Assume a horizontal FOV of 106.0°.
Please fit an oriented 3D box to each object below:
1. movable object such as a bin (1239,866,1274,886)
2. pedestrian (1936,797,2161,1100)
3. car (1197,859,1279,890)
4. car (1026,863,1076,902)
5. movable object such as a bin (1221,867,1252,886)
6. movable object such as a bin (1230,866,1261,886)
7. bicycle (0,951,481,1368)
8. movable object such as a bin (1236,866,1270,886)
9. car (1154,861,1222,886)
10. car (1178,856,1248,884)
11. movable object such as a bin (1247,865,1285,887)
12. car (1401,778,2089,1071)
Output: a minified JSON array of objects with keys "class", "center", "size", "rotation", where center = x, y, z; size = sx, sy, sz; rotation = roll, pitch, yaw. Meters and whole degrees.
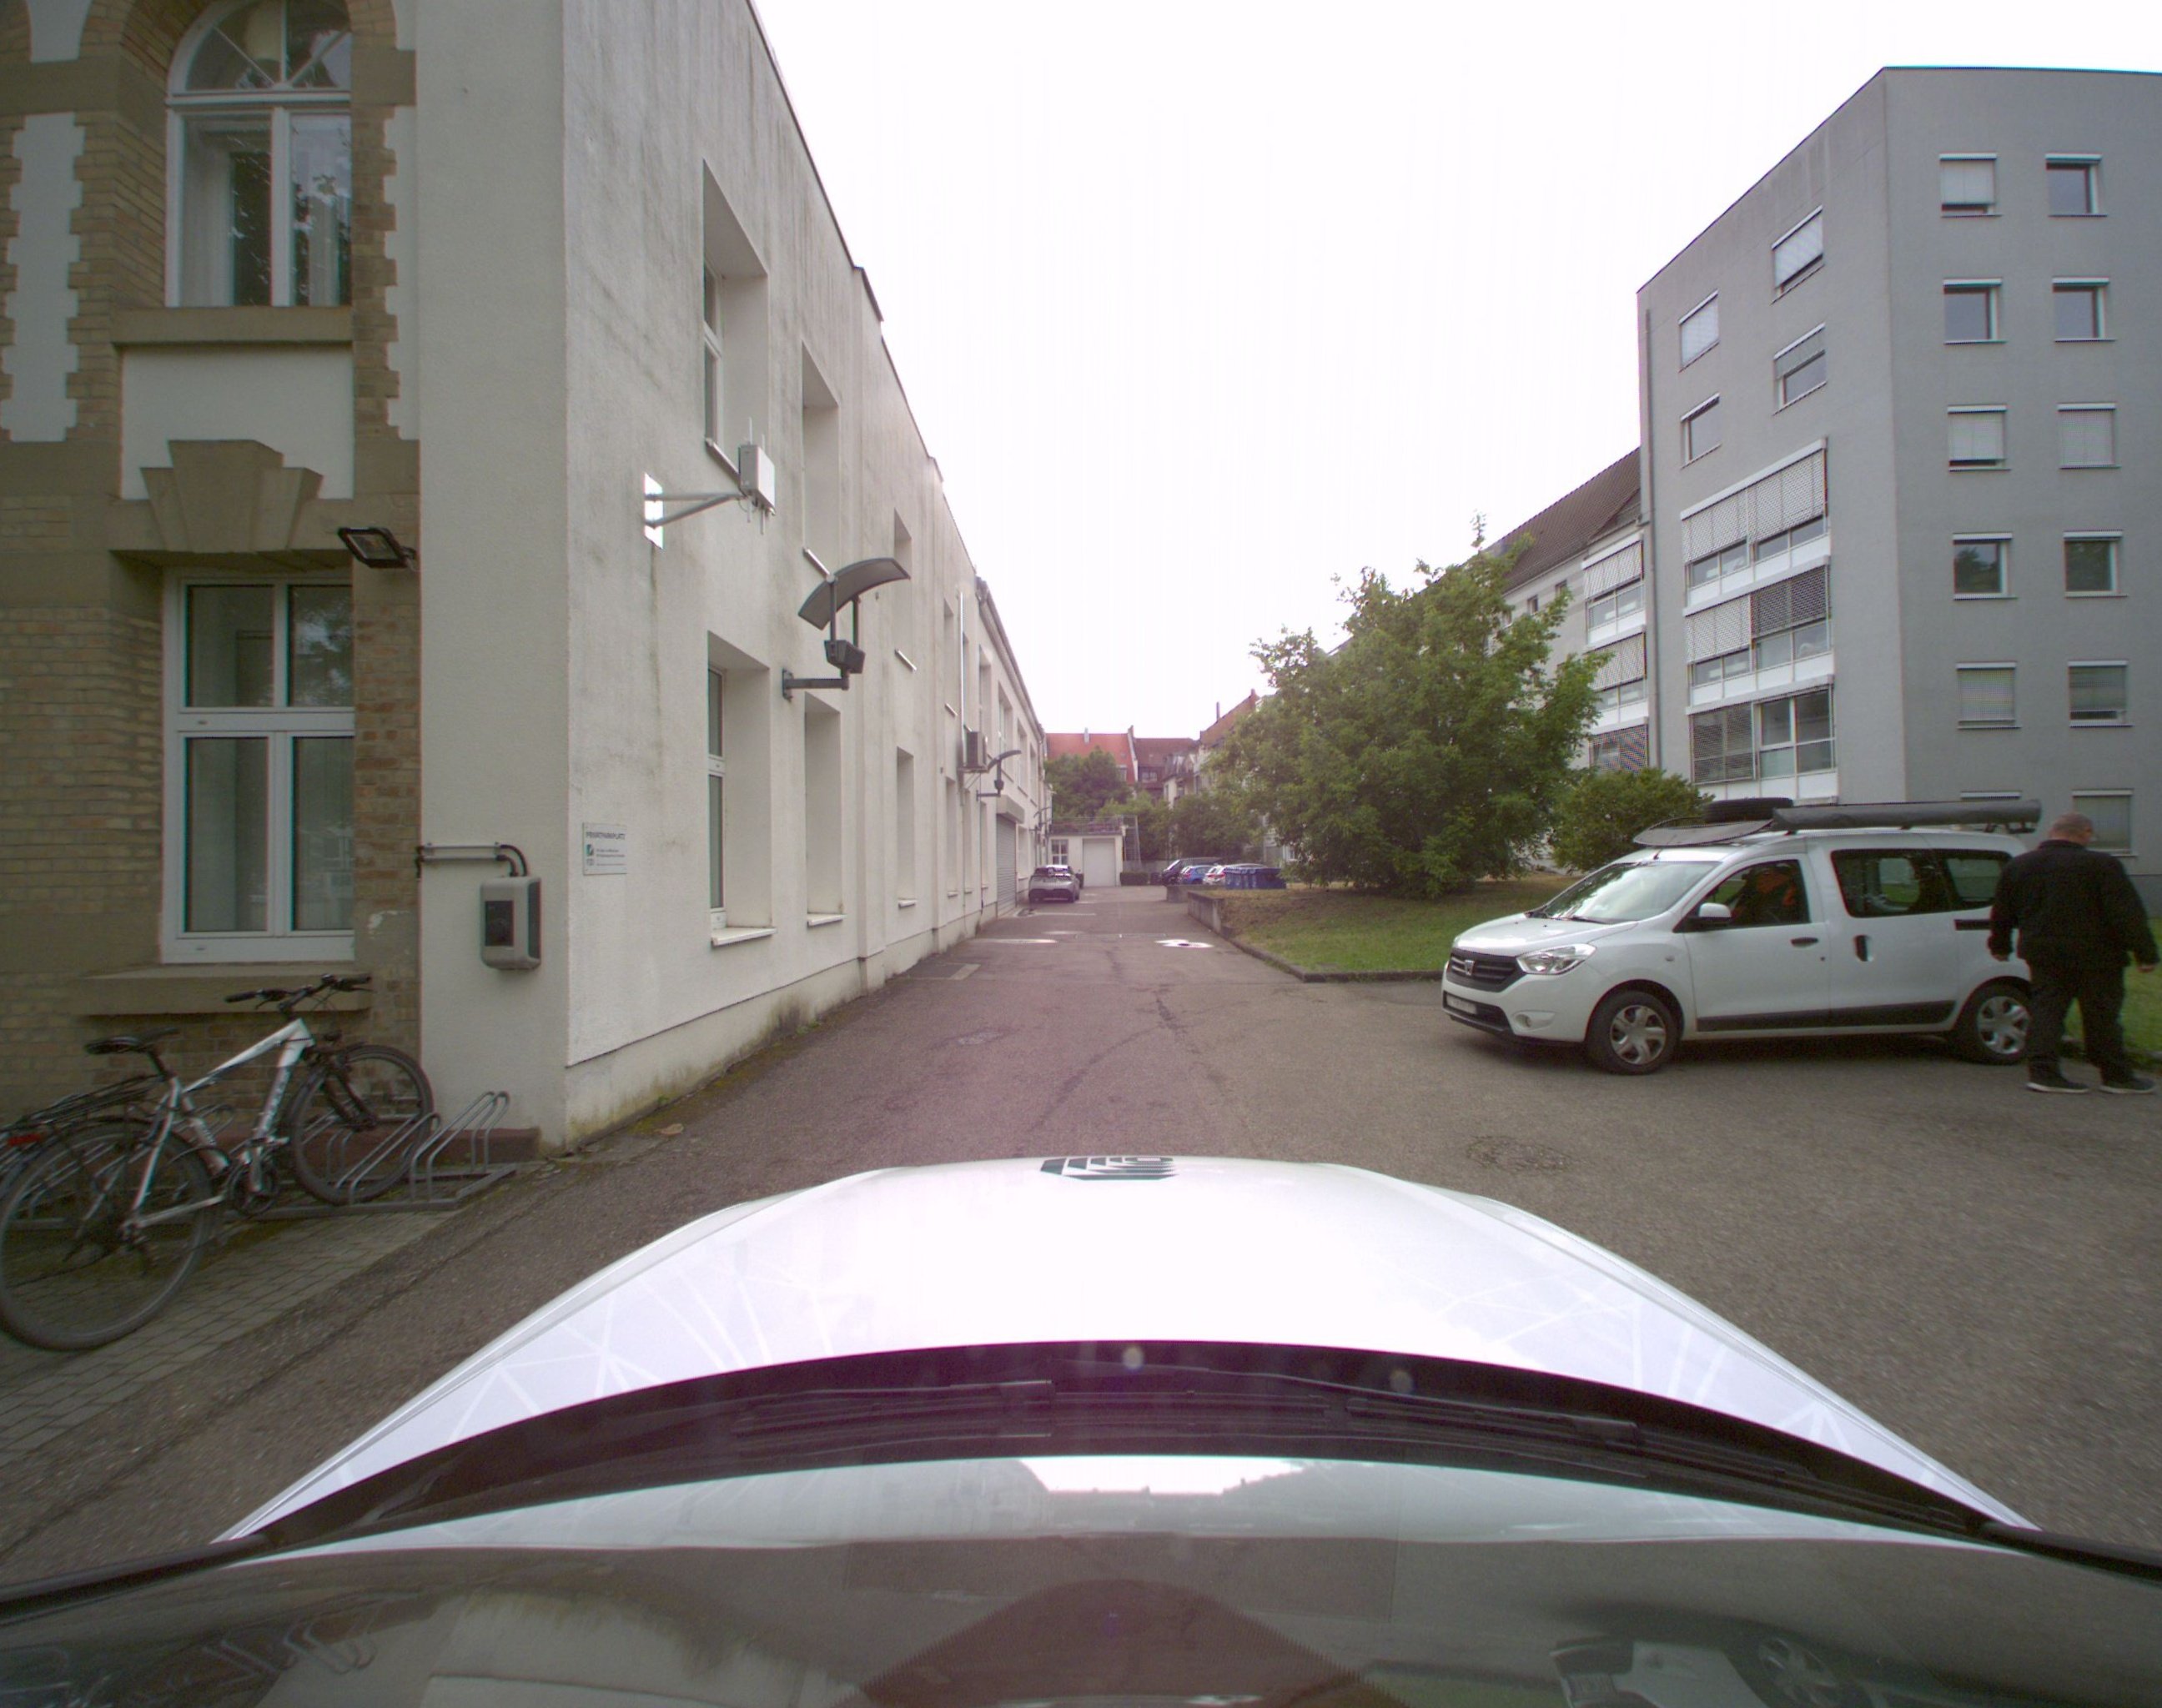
[{"class":"movable object such as a bin","center":[5.659,0.706,26.322],"size":[0.961,0.637,0.911],"rotation":[-1,-2,1]},{"class":"pedestrian","center":[6.337,0.573,5.281],"size":[0.752,1.809,0.697],"rotation":[-1,-2,-4]},{"class":"car","center":[8.635,1.127,45.011],"size":[3.988,1.574,1.993],"rotation":[-1,0,-11]},{"class":"car","center":[-1.180,1.160,33.599],"size":[1.841,1.508,4.000],"rotation":[-1,-2,1]},{"class":"movable object such as a bin","center":[5.640,0.810,29.543],"size":[0.961,0.679,0.871],"rotation":[-1,-2,1]},{"class":"movable object such as a bin","center":[5.750,0.782,28.507],"size":[0.961,0.679,0.811],"rotation":[-1,-2,1]},{"class":"bicycle","center":[-3.362,1.044,3.405],"size":[0.393,1.065,1.827],"rotation":[-1,0,-2]},{"class":"movable object such as a bin","center":[5.786,0.734,27.477],"size":[0.961,0.637,0.911],"rotation":[-1,-2,1]},{"class":"car","center":[7.276,1.304,55.688],"size":[4.183,1.574,1.993],"rotation":[-1,0,-11]},{"class":"car","center":[8.079,0.970,49.956],"size":[3.988,1.574,1.579],"rotation":[-1,-1,-11]},{"class":"movable object such as a bin","center":[5.668,0.672,25.030],"size":[0.961,0.637,0.911],"rotation":[-1,-2,1]},{"class":"car","center":[5.196,0.493,6.766],"size":[4.330,2.014,1.851],"rotation":[-1,-2,-5]}]
